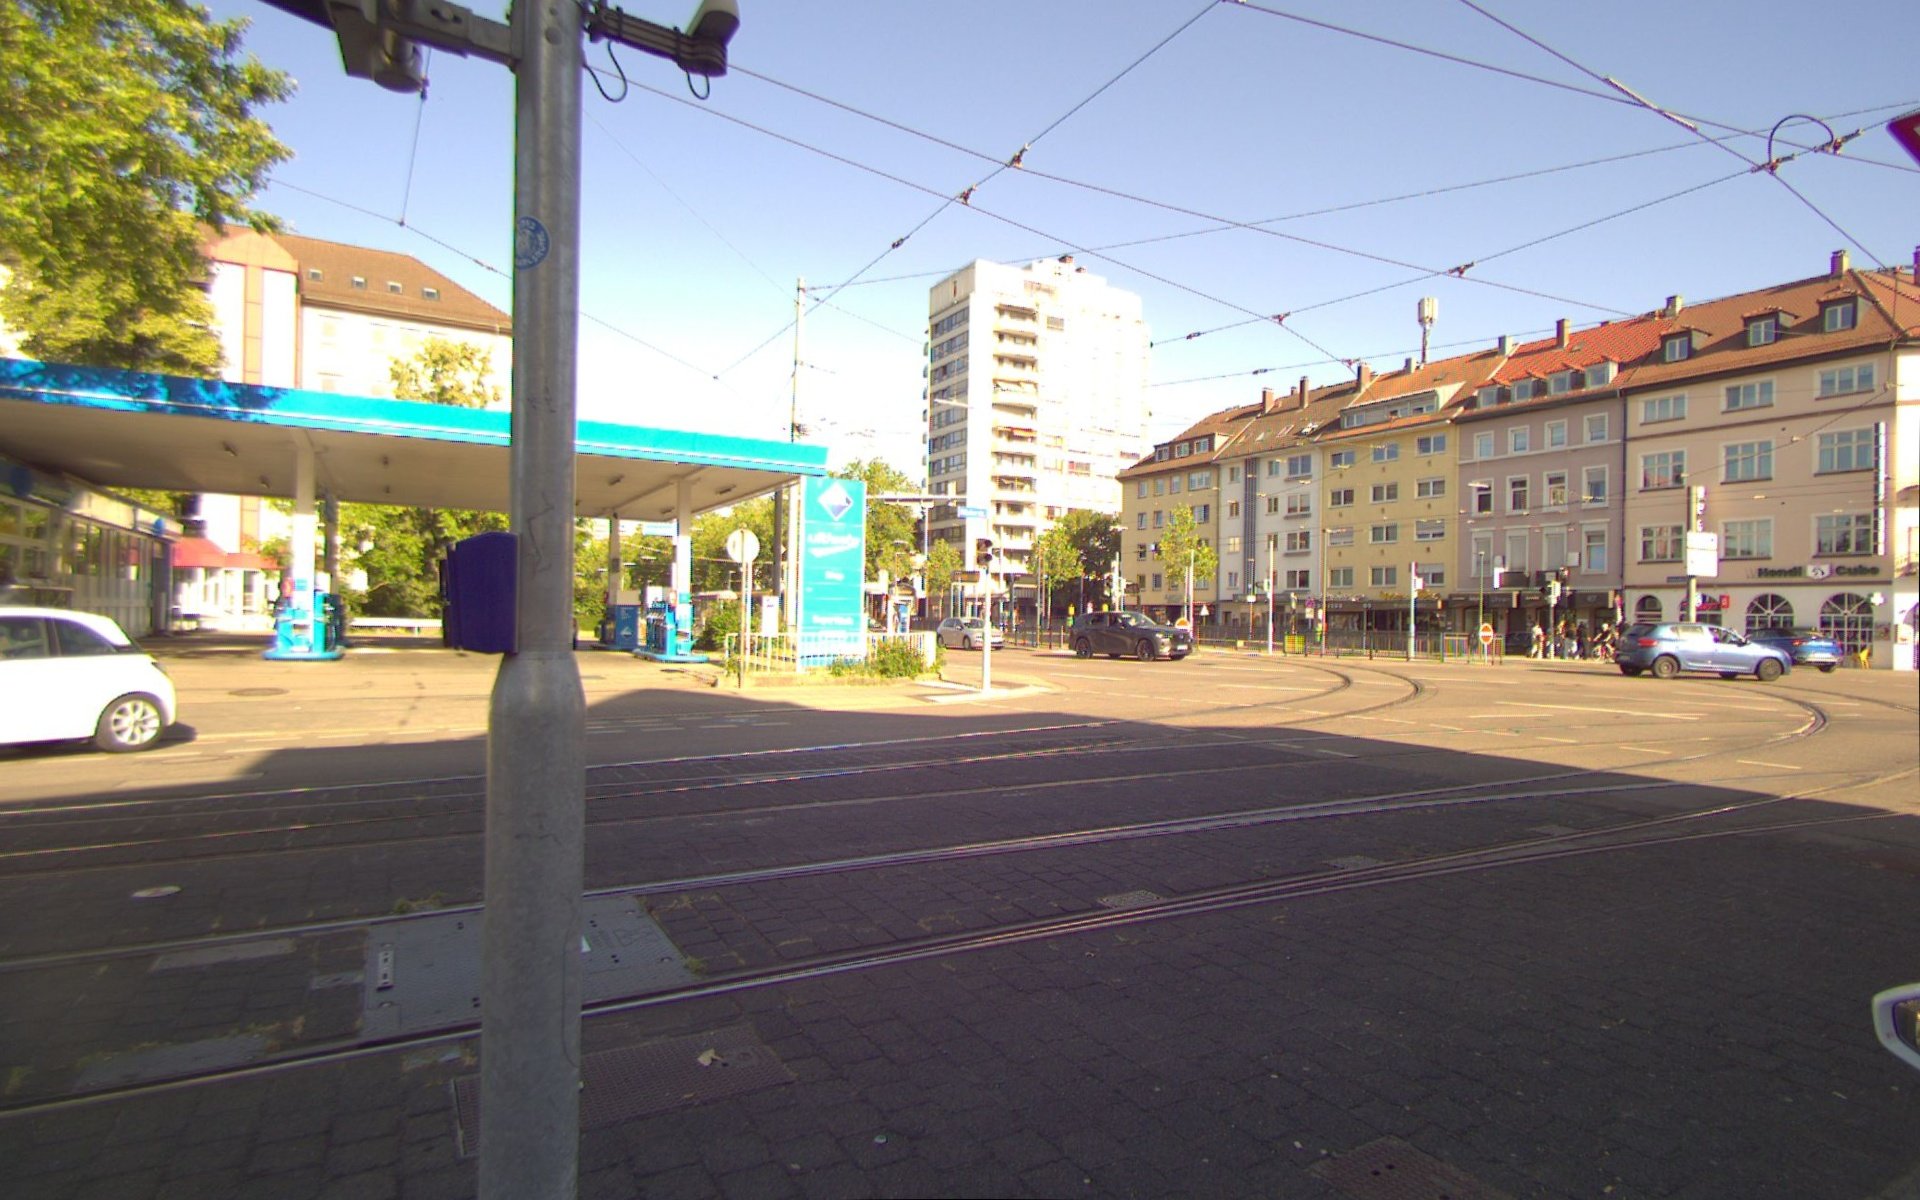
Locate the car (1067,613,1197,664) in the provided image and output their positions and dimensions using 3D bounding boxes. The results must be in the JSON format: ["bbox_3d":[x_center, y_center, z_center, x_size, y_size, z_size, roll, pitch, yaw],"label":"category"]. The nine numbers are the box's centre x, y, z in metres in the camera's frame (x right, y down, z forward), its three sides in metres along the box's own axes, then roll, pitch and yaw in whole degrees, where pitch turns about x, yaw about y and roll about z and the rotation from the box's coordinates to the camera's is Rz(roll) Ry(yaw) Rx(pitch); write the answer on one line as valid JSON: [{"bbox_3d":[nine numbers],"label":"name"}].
[{"bbox_3d":[5.877,1.302,34.804,1.856,1.623,4.409,2,-2,-36],"label":"car"}]

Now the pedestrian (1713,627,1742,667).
[{"bbox_3d":[31.617,1.928,41.366,0.805,1.615,0.665,2,0,-30],"label":"pedestrian"}]

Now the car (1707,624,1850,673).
[{"bbox_3d":[29.605,1.702,36.515,1.795,1.596,4.199,1,0,1],"label":"car"}]

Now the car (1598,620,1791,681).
[{"bbox_3d":[19.815,1.337,27.244,3.840,1.523,1.791,1,-1,6],"label":"car"}]

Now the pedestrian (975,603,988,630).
[{"bbox_3d":[1.698,1.329,80.307,0.729,2.127,0.880,2,0,-21],"label":"pedestrian"}]

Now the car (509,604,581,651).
[{"bbox_3d":[-13.522,0.864,32.644,1.659,1.372,3.559,2,0,-31],"label":"car"}]

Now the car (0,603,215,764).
[{"bbox_3d":[-9.477,0.786,9.291,1.709,1.454,3.938,-2,-3,15],"label":"car"}]

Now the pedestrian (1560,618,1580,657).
[{"bbox_3d":[26.147,1.599,43.083,0.492,1.670,0.520,2,0,-30],"label":"pedestrian"}]

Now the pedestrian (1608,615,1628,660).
[{"bbox_3d":[27.453,1.568,41.895,0.522,1.847,0.672,2,0,45],"label":"pedestrian"}]

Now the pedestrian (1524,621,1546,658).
[{"bbox_3d":[26.246,1.791,45.849,0.609,1.670,0.581,2,0,-30],"label":"pedestrian"}]

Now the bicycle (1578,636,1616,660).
[{"bbox_3d":[29.381,2.206,46.334,1.731,1.044,0.619,2,0,-25],"label":"bicycle"}]

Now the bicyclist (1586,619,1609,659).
[{"bbox_3d":[29.409,1.803,46.342,0.606,1.814,0.619,2,0,-25],"label":"bicyclist"}]

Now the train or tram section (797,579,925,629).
[{"bbox_3d":[-7.612,0.184,73.004,2.821,3.179,16.611,2,0,-29],"label":"train or tram section"}]

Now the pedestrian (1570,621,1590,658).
[{"bbox_3d":[26.301,1.672,42.599,0.550,1.512,0.489,2,0,-30],"label":"pedestrian"}]

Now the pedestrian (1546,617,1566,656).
[{"bbox_3d":[25.855,1.593,43.562,0.492,1.670,0.520,2,0,-30],"label":"pedestrian"}]

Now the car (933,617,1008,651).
[{"bbox_3d":[0.409,1.505,45.099,1.711,1.408,4.202,1,-1,-25],"label":"car"}]

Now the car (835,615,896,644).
[{"bbox_3d":[-5.398,1.648,56.889,1.976,1.537,4.177,1,-1,-29],"label":"car"}]
